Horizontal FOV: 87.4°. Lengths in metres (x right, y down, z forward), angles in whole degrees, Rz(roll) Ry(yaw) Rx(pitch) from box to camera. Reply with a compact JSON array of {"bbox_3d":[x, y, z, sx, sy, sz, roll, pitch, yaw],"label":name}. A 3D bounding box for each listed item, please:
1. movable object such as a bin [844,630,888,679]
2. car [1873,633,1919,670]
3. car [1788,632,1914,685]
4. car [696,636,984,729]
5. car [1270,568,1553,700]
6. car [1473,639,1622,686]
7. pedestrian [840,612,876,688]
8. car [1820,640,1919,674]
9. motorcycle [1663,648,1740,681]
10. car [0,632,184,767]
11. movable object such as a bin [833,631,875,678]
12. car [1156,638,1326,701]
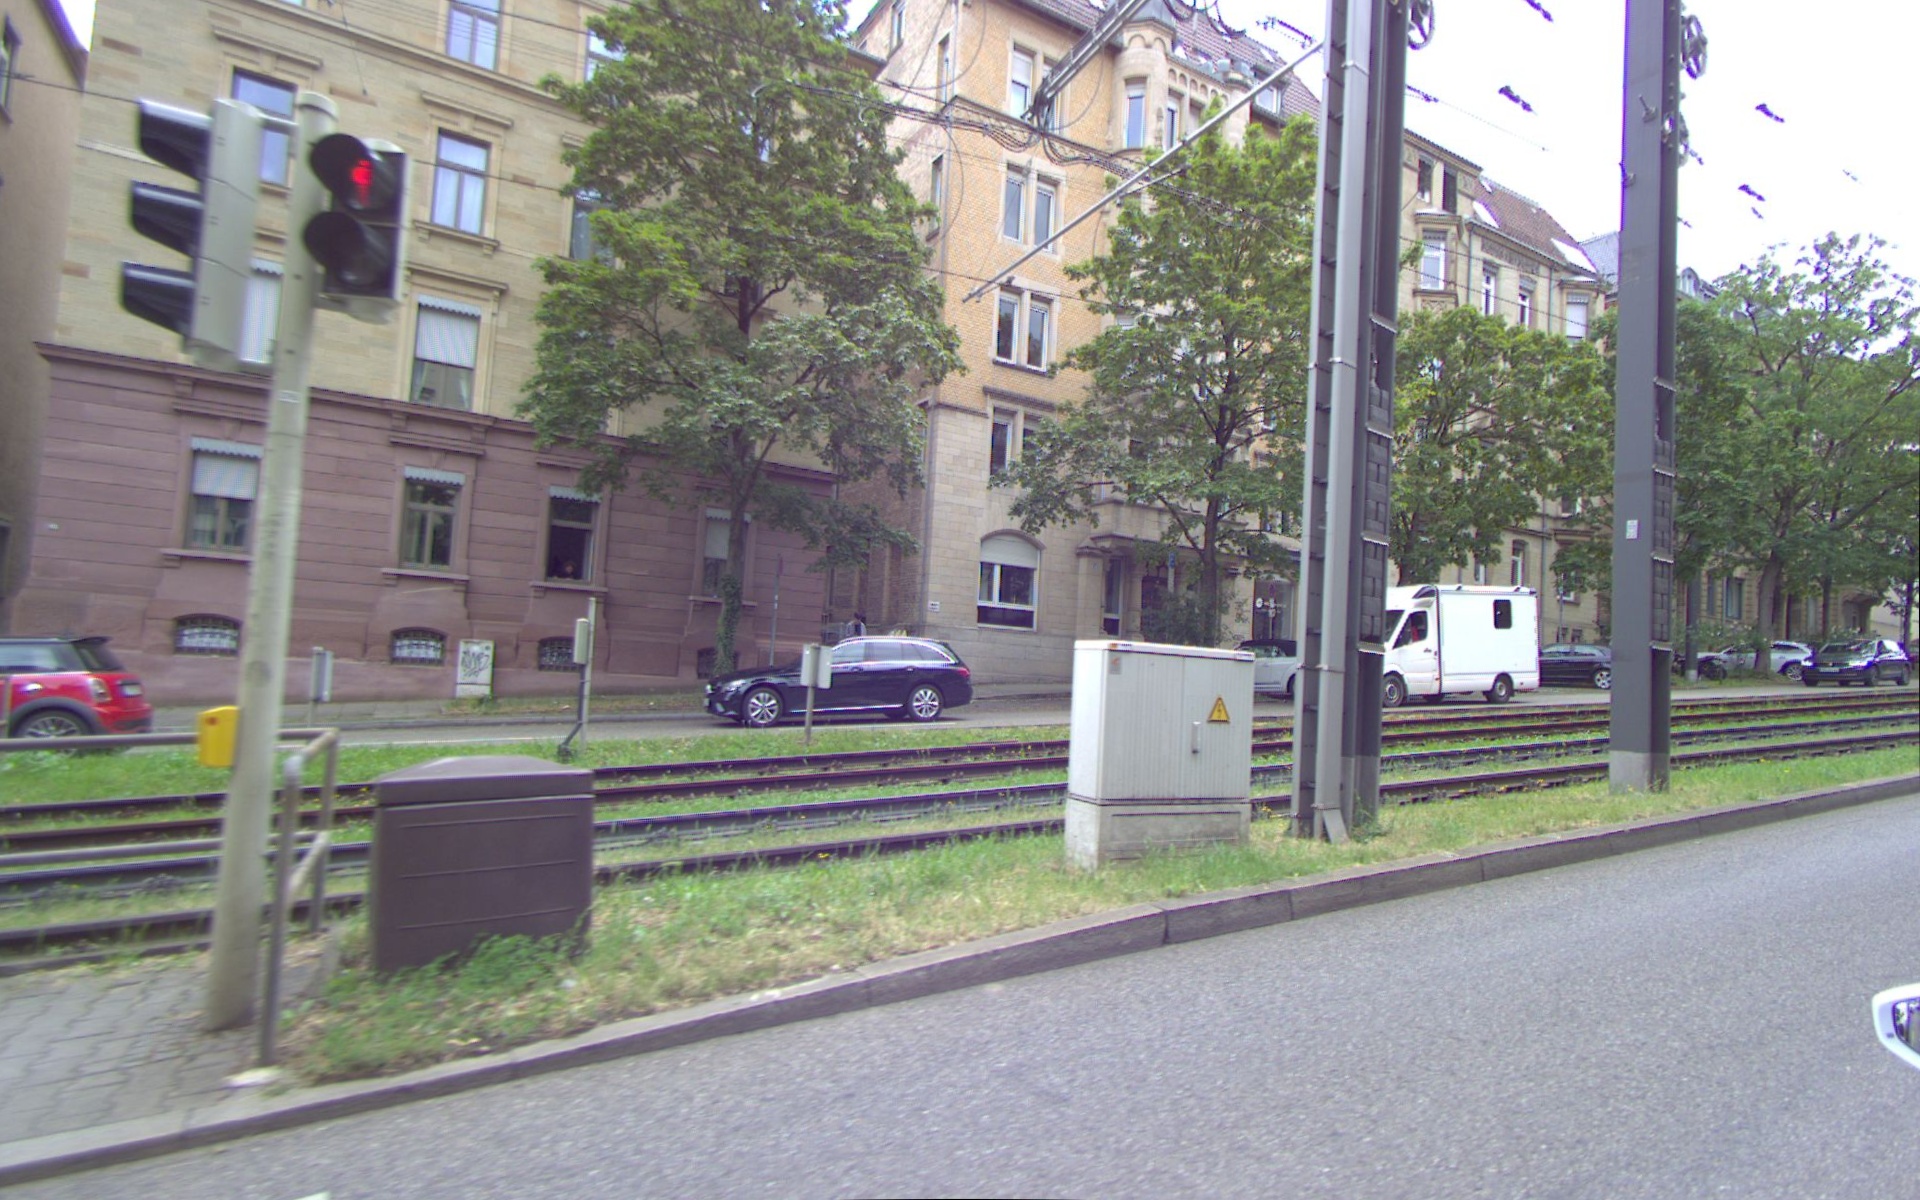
[{"bbox_3d":[-2.526,1.452,27.008,0.905,1.264,0.889,1,-2,-27],"label":"movable object such as a bin"},{"bbox_3d":[48.064,2.536,49.554,4.117,1.791,1.868,-1,-2,31],"label":"car"},{"bbox_3d":[29.965,1.957,33.761,4.418,1.671,1.872,1,-4,-31],"label":"car"},{"bbox_3d":[-2.054,1.361,17.409,4.682,1.447,1.745,1,-3,-24],"label":"car"},{"bbox_3d":[10.486,0.831,23.250,6.432,2.734,2.385,1,-4,-26],"label":"car"},{"bbox_3d":[19.043,2.006,32.709,4.110,1.382,1.709,0,-2,31],"label":"car"},{"bbox_3d":[-2.521,1.228,24.900,0.624,1.836,0.772,1,-2,-31],"label":"pedestrian"},{"bbox_3d":[41.948,2.577,45.613,4.079,1.488,1.784,-1,-3,28],"label":"car"},{"bbox_3d":[27.012,2.334,36.624,2.164,1.072,0.625,1,-1,26],"label":"motorcycle"},{"bbox_3d":[-10.803,1.036,10.793,3.606,1.395,1.572,1,-2,-25],"label":"car"},{"bbox_3d":[-2.932,1.493,27.867,0.905,1.264,0.889,1,-2,-27],"label":"movable object such as a bin"},{"bbox_3d":[7.199,1.733,25.802,3.928,1.441,1.783,0,-2,29],"label":"car"}]
